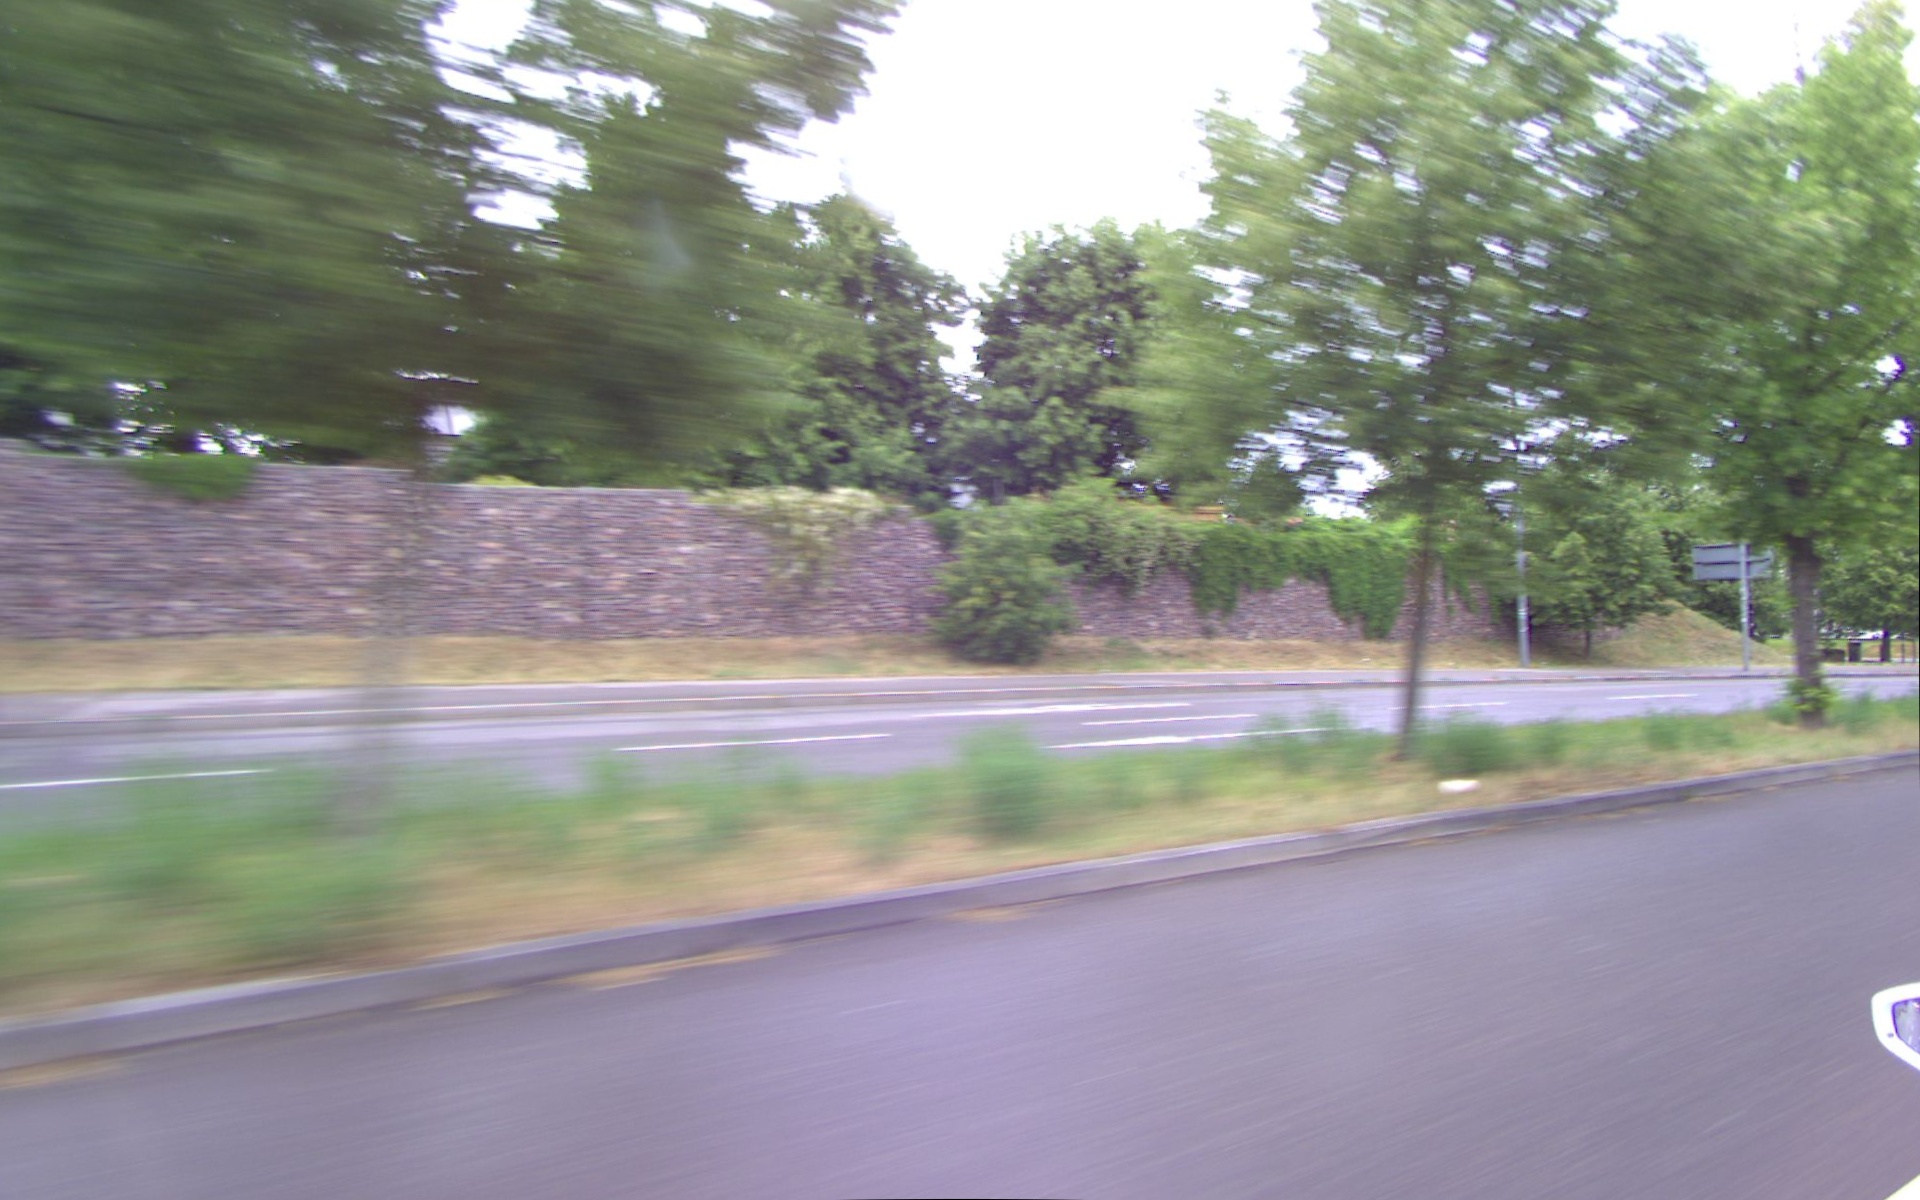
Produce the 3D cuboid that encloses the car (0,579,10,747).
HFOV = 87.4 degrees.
[{"bbox_3d":[-9.826,0.575,8.095,2.886,1.560,1.676,0,0,-34],"label":"car"}]
